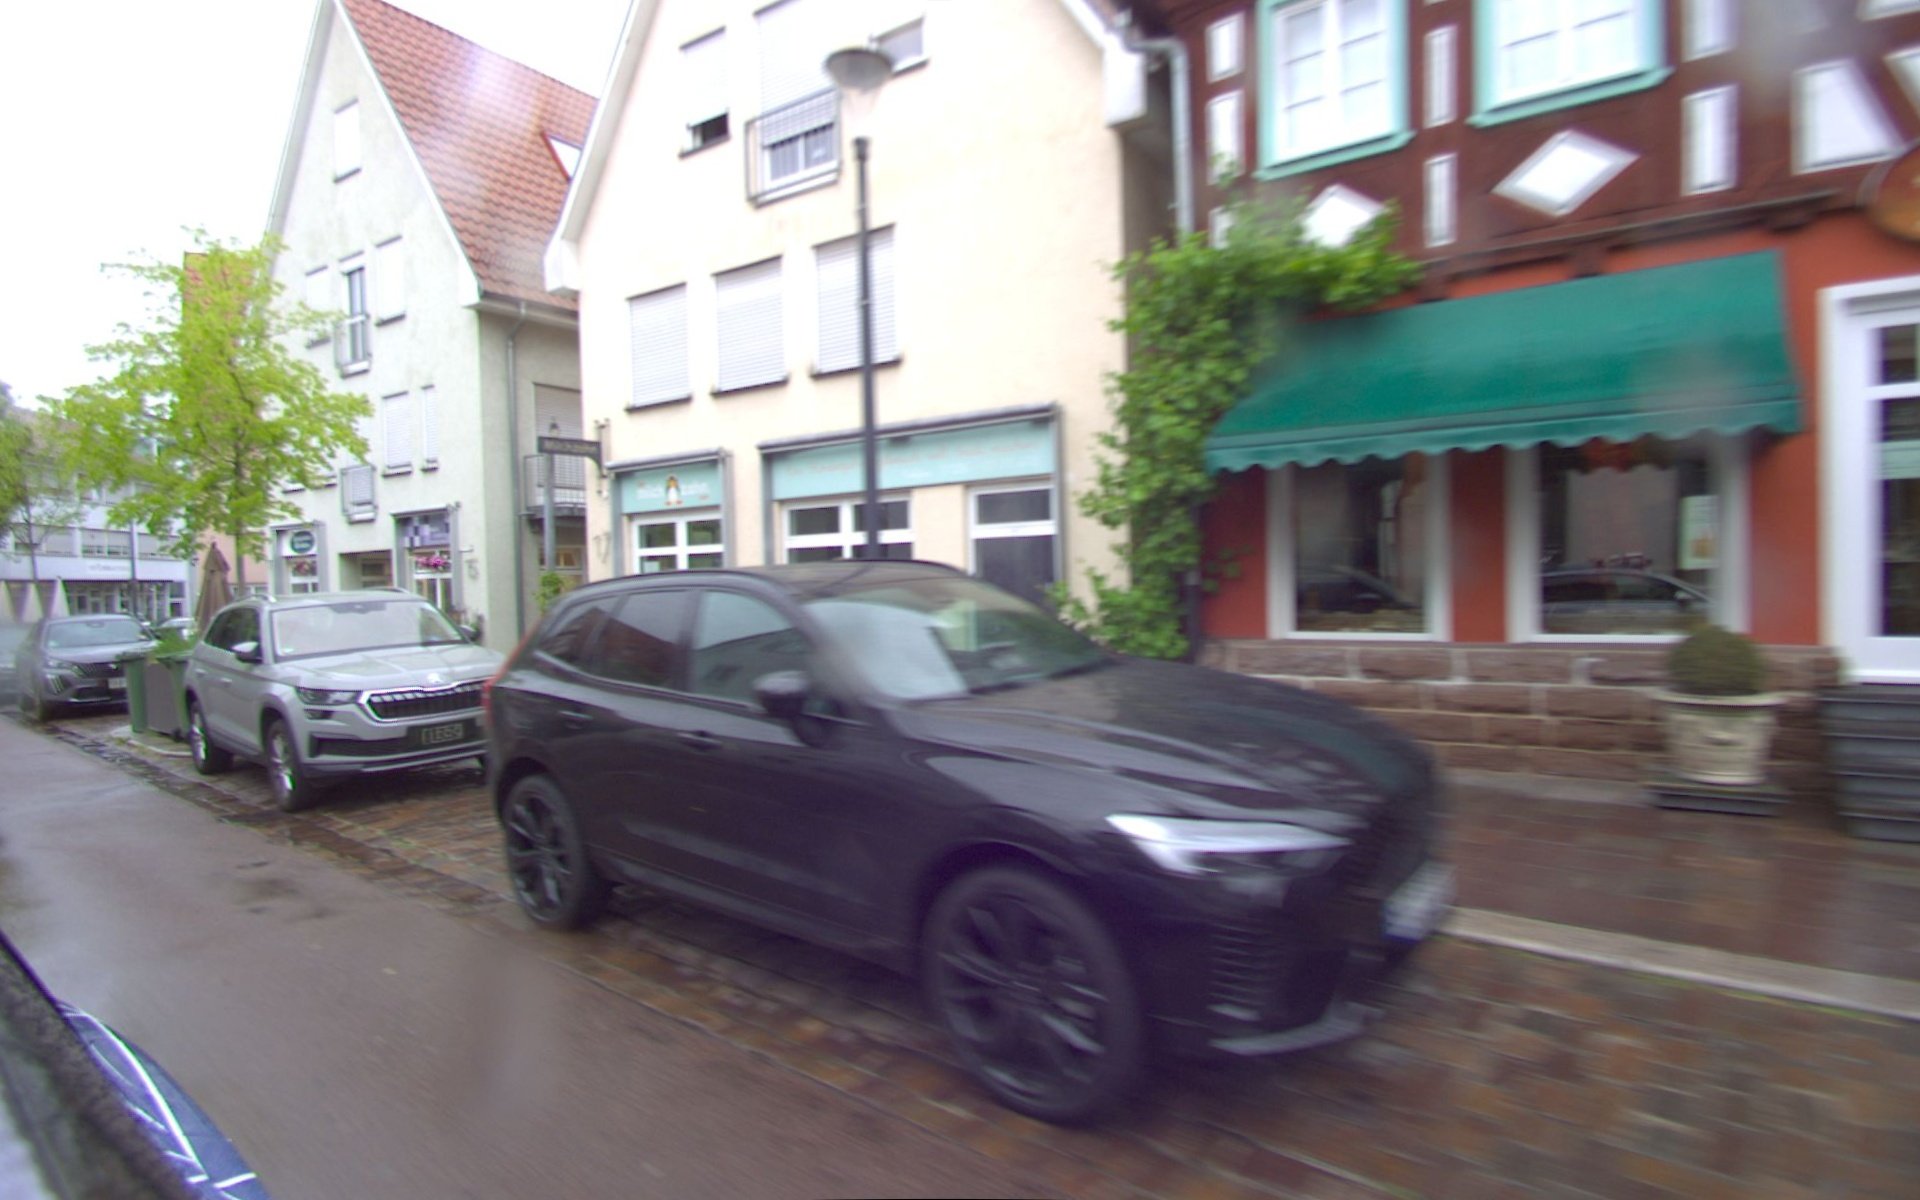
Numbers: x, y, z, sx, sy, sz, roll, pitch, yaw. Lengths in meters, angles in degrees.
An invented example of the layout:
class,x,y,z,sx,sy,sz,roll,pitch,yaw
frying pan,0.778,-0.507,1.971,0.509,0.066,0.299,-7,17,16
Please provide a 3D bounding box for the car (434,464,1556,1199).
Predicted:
class,x,y,z,sx,sy,sz,roll,pitch,yaw
car,-0.283,0.568,4.348,4.638,1.678,1.806,-2,1,40

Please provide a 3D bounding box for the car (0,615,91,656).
class,x,y,z,sx,sy,sz,roll,pitch,yaw
car,-40.442,1.530,44.503,1.763,1.479,3.961,-2,2,-14

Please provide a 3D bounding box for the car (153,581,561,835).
class,x,y,z,sx,sy,sz,roll,pitch,yaw
car,-5.618,0.712,9.144,4.641,1.678,1.805,0,3,42

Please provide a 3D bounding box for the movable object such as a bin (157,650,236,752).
class,x,y,z,sx,sy,sz,roll,pitch,yaw
movable object such as a bin,-8.657,1.127,11.478,0.534,1.054,0.546,0,2,37

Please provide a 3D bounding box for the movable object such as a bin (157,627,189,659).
class,x,y,z,sx,sy,sz,roll,pitch,yaw
movable object such as a bin,-30.702,1.684,39.484,0.690,1.130,0.721,-5,3,-17

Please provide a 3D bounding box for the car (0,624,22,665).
class,x,y,z,sx,sy,sz,roll,pitch,yaw
car,-38.787,1.810,39.361,1.763,1.567,3.961,-1,1,-16

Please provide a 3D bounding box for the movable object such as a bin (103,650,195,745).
class,x,y,z,sx,sy,sz,roll,pitch,yaw
movable object such as a bin,-10.402,1.227,12.988,0.743,1.091,0.739,0,3,38

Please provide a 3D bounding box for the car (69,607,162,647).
class,x,y,z,sx,sy,sz,roll,pitch,yaw
car,-41.852,1.306,50.296,1.763,1.651,4.453,-2,2,-15

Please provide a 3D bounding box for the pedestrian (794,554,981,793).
class,x,y,z,sx,sy,sz,roll,pitch,yaw
pedestrian,-0.536,0.515,7.747,1.168,1.694,0.785,-1,2,21

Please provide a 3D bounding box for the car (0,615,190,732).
class,x,y,z,sx,sy,sz,roll,pitch,yaw
car,-14.353,1.110,16.708,4.328,1.535,1.842,-2,3,43

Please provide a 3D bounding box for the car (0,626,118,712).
class,x,y,z,sx,sy,sz,roll,pitch,yaw
car,-18.606,1.325,20.103,4.611,1.453,1.845,-2,1,37

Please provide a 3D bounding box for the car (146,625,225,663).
class,x,y,z,sx,sy,sz,roll,pitch,yaw
car,-33.152,1.834,43.436,1.823,1.463,4.086,-3,0,-25
